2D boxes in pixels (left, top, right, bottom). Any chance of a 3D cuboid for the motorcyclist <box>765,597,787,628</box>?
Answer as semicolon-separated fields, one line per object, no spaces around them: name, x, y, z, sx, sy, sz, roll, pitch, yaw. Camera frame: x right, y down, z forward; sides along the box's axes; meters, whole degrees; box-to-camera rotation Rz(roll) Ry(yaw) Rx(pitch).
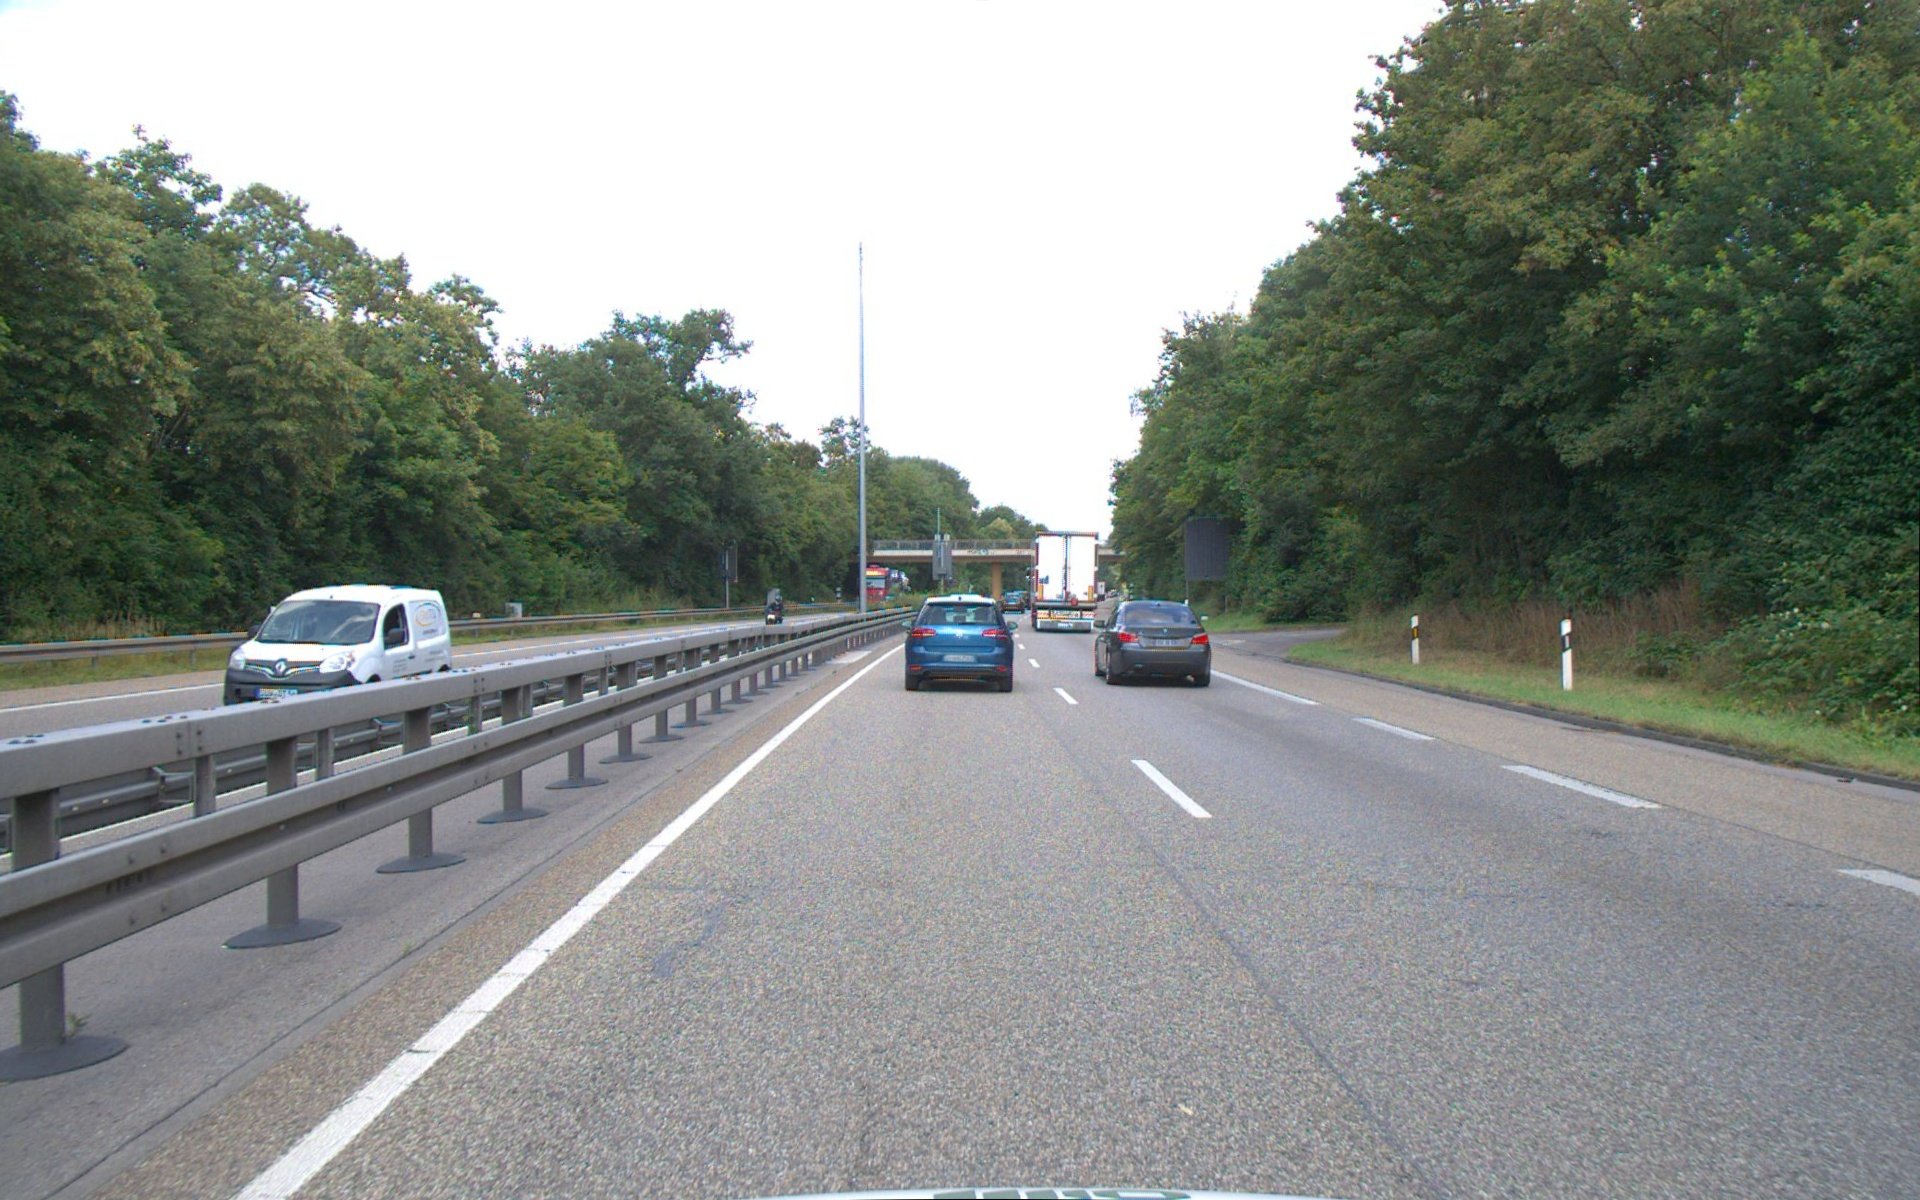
motorcyclist;-7.441;0.507;66.884;0.808;1.247;0.720;-1;0;0

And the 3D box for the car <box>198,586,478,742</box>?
car;-8.246;0.746;22.562;1.807;1.850;5.477;-1;0;-1

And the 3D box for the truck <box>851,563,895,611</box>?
truck;-7.489;-1.115;143.259;2.893;3.923;10.326;-1;0;2

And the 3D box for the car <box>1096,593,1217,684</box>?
car;3.498;0.639;30.203;1.737;1.501;4.881;1;0;2

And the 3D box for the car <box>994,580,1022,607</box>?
car;3.699;-0.506;126.912;1.913;2.049;4.002;-1;0;4

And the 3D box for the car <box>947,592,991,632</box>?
car;0.369;0.438;65.656;1.631;1.526;4.153;0;0;2

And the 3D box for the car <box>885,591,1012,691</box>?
car;-0.113;0.617;27.163;1.669;1.495;4.003;1;0;5

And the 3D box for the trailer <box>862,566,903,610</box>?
trailer;-7.136;-1.093;153.516;2.877;3.900;10.313;-1;0;2

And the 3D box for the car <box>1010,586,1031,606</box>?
car;5.642;-0.370;153.646;1.729;1.803;4.026;-1;0;5

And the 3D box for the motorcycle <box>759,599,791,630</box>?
motorcycle;-7.487;0.562;67.155;0.979;1.222;2.997;-1;0;0

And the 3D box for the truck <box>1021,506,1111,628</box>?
truck;4.432;-1.352;71.410;3.175;4.798;11.006;-1;0;0
